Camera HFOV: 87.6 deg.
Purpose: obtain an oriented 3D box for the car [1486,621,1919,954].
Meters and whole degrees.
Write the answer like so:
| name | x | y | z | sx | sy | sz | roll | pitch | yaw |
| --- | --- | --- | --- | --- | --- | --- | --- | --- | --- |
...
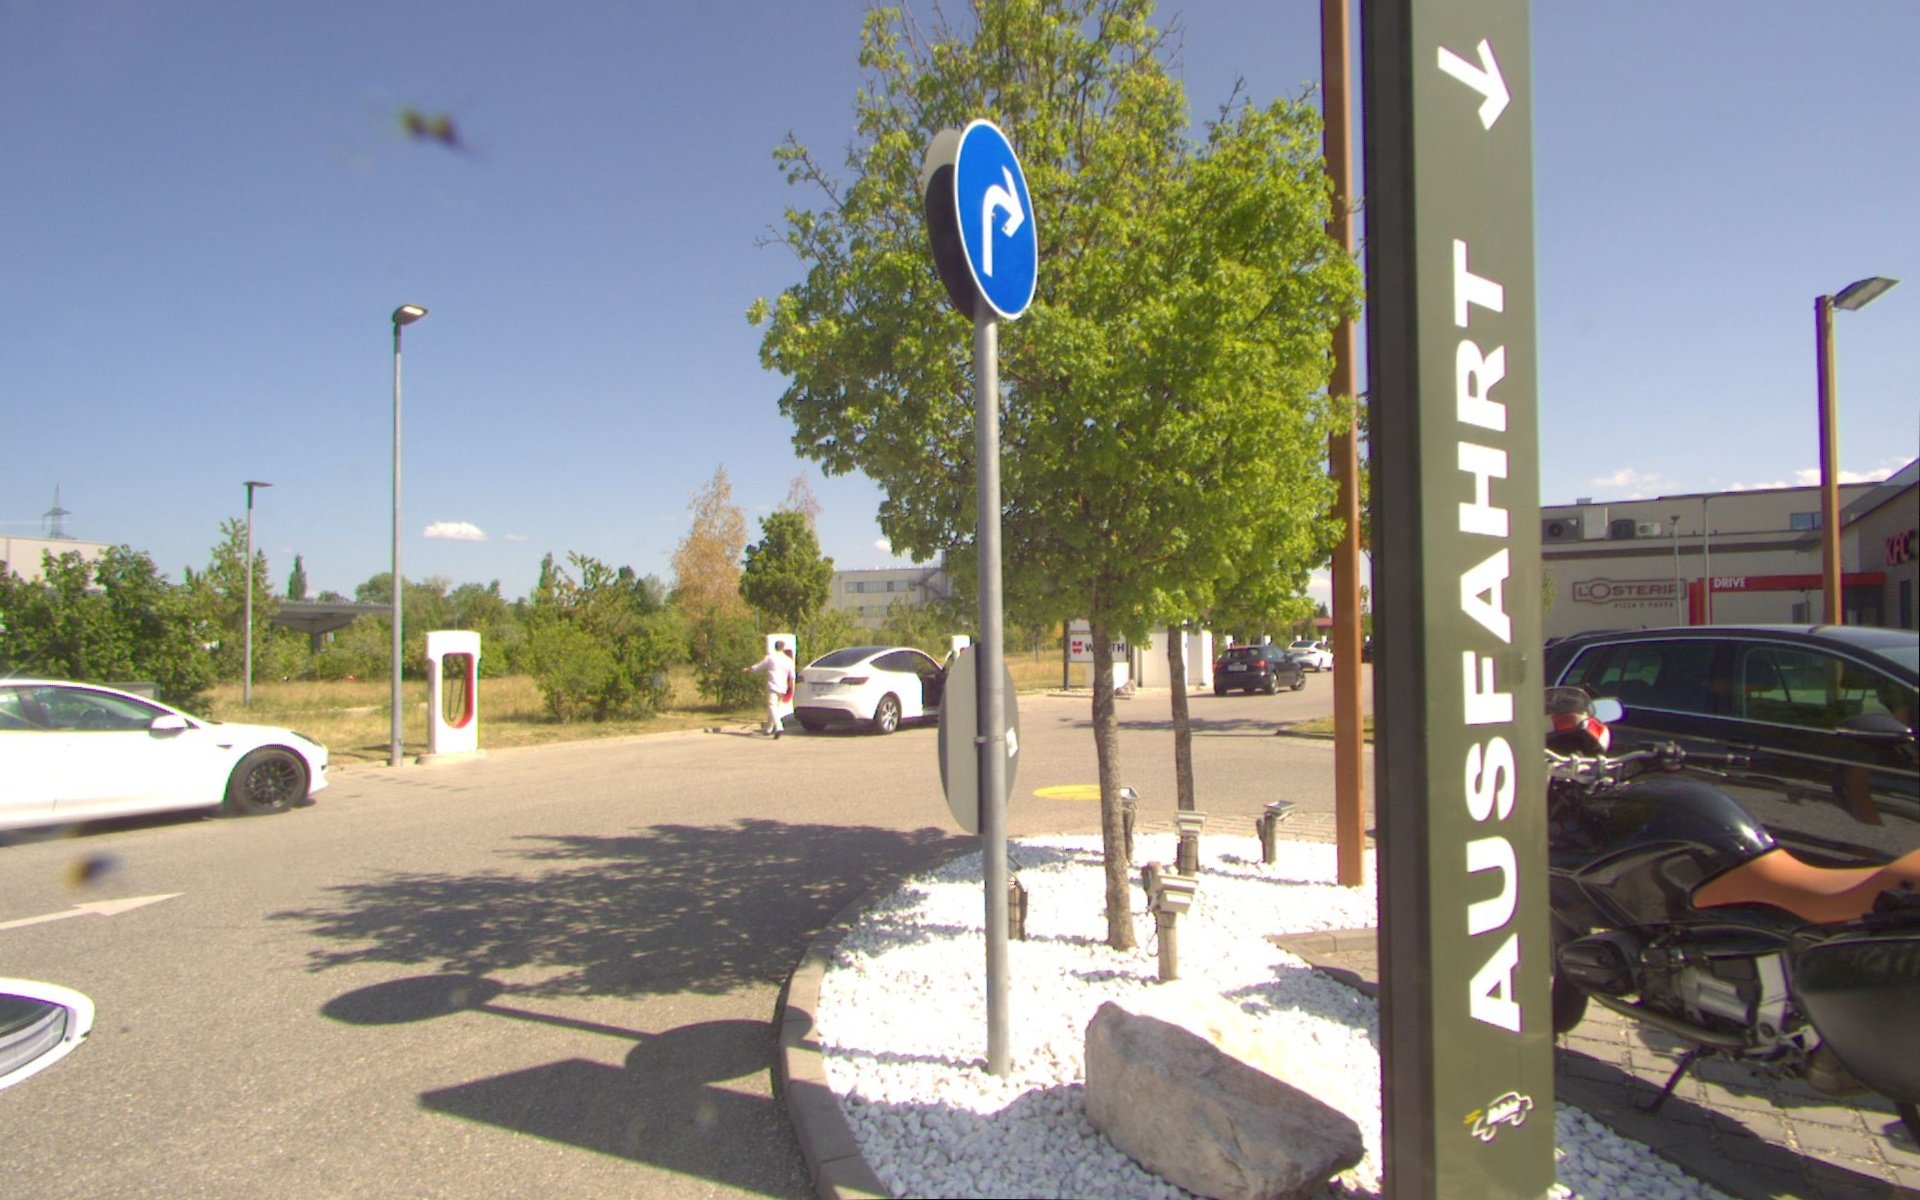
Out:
| name | x | y | z | sx | sy | sz | roll | pitch | yaw |
| --- | --- | --- | --- | --- | --- | --- | --- | --- | --- |
| car | 5.247 | 0.904 | 5.604 | 1.861 | 1.556 | 4.188 | 0 | -2 | -11 |

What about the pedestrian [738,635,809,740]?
| name | x | y | z | sx | sy | sz | roll | pitch | yaw |
| --- | --- | --- | --- | --- | --- | --- | --- | --- | --- |
| pedestrian | -3.376 | 1.559 | 18.174 | 1.019 | 1.823 | 0.734 | 0 | -1 | 27 |

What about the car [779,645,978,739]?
| name | x | y | z | sx | sy | sz | roll | pitch | yaw |
| --- | --- | --- | --- | --- | --- | --- | --- | --- | --- |
| car | -1.496 | 1.741 | 20.171 | 1.842 | 1.620 | 4.471 | -1 | -2 | 29 |

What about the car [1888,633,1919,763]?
| name | x | y | z | sx | sy | sz | roll | pitch | yaw |
| --- | --- | --- | --- | --- | --- | --- | --- | --- | --- |
| car | 12.855 | 1.079 | 11.182 | 4.112 | 1.443 | 1.842 | 0 | -2 | -17 |

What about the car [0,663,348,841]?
| name | x | y | z | sx | sy | sz | roll | pitch | yaw |
| --- | --- | --- | --- | --- | --- | --- | --- | --- | --- |
| car | -8.385 | 1.328 | 9.172 | 1.796 | 1.395 | 4.428 | -2 | -3 | 31 |

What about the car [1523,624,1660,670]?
| name | x | y | z | sx | sy | sz | roll | pitch | yaw |
| --- | --- | --- | --- | --- | --- | --- | --- | --- | --- |
| car | 24.138 | 1.806 | 38.460 | 4.320 | 1.706 | 1.634 | -2 | -2 | 31 |

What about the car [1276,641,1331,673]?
| name | x | y | z | sx | sy | sz | roll | pitch | yaw |
| --- | --- | --- | --- | --- | --- | --- | --- | --- | --- |
| car | 18.154 | 2.975 | 52.895 | 1.923 | 1.588 | 3.981 | -2 | -3 | 32 |

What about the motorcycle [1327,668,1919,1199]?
| name | x | y | z | sx | sy | sz | roll | pitch | yaw |
| --- | --- | --- | --- | --- | --- | --- | --- | --- | --- |
| motorcycle | 2.268 | 0.900 | 3.008 | 1.052 | 1.267 | 2.248 | 2 | -1 | -16 |

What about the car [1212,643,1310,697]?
| name | x | y | z | sx | sy | sz | roll | pitch | yaw |
| --- | --- | --- | --- | --- | --- | --- | --- | --- | --- |
| car | 8.981 | 2.025 | 29.698 | 1.675 | 1.459 | 4.192 | -1 | -3 | 33 |

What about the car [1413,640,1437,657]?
| name | x | y | z | sx | sy | sz | roll | pitch | yaw |
| --- | --- | --- | --- | --- | --- | --- | --- | --- | --- |
| car | 44.551 | 4.647 | 95.866 | 1.722 | 1.588 | 3.983 | -1 | -3 | 30 |

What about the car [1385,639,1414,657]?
| name | x | y | z | sx | sy | sz | roll | pitch | yaw |
| --- | --- | --- | --- | --- | --- | --- | --- | --- | --- |
| car | 35.511 | 3.851 | 80.876 | 1.722 | 1.404 | 3.983 | -1 | -3 | 30 |

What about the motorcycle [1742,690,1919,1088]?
| name | x | y | z | sx | sy | sz | roll | pitch | yaw |
| --- | --- | --- | --- | --- | --- | --- | --- | --- | --- |
| motorcycle | 3.666 | 0.950 | 2.882 | 0.807 | 1.247 | 2.136 | 1 | -1 | -20 |

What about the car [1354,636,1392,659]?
| name | x | y | z | sx | sy | sz | roll | pitch | yaw |
| --- | --- | --- | --- | --- | --- | --- | --- | --- | --- |
| car | 29.151 | 3.344 | 70.618 | 1.922 | 1.588 | 3.983 | -1 | -3 | 30 |
